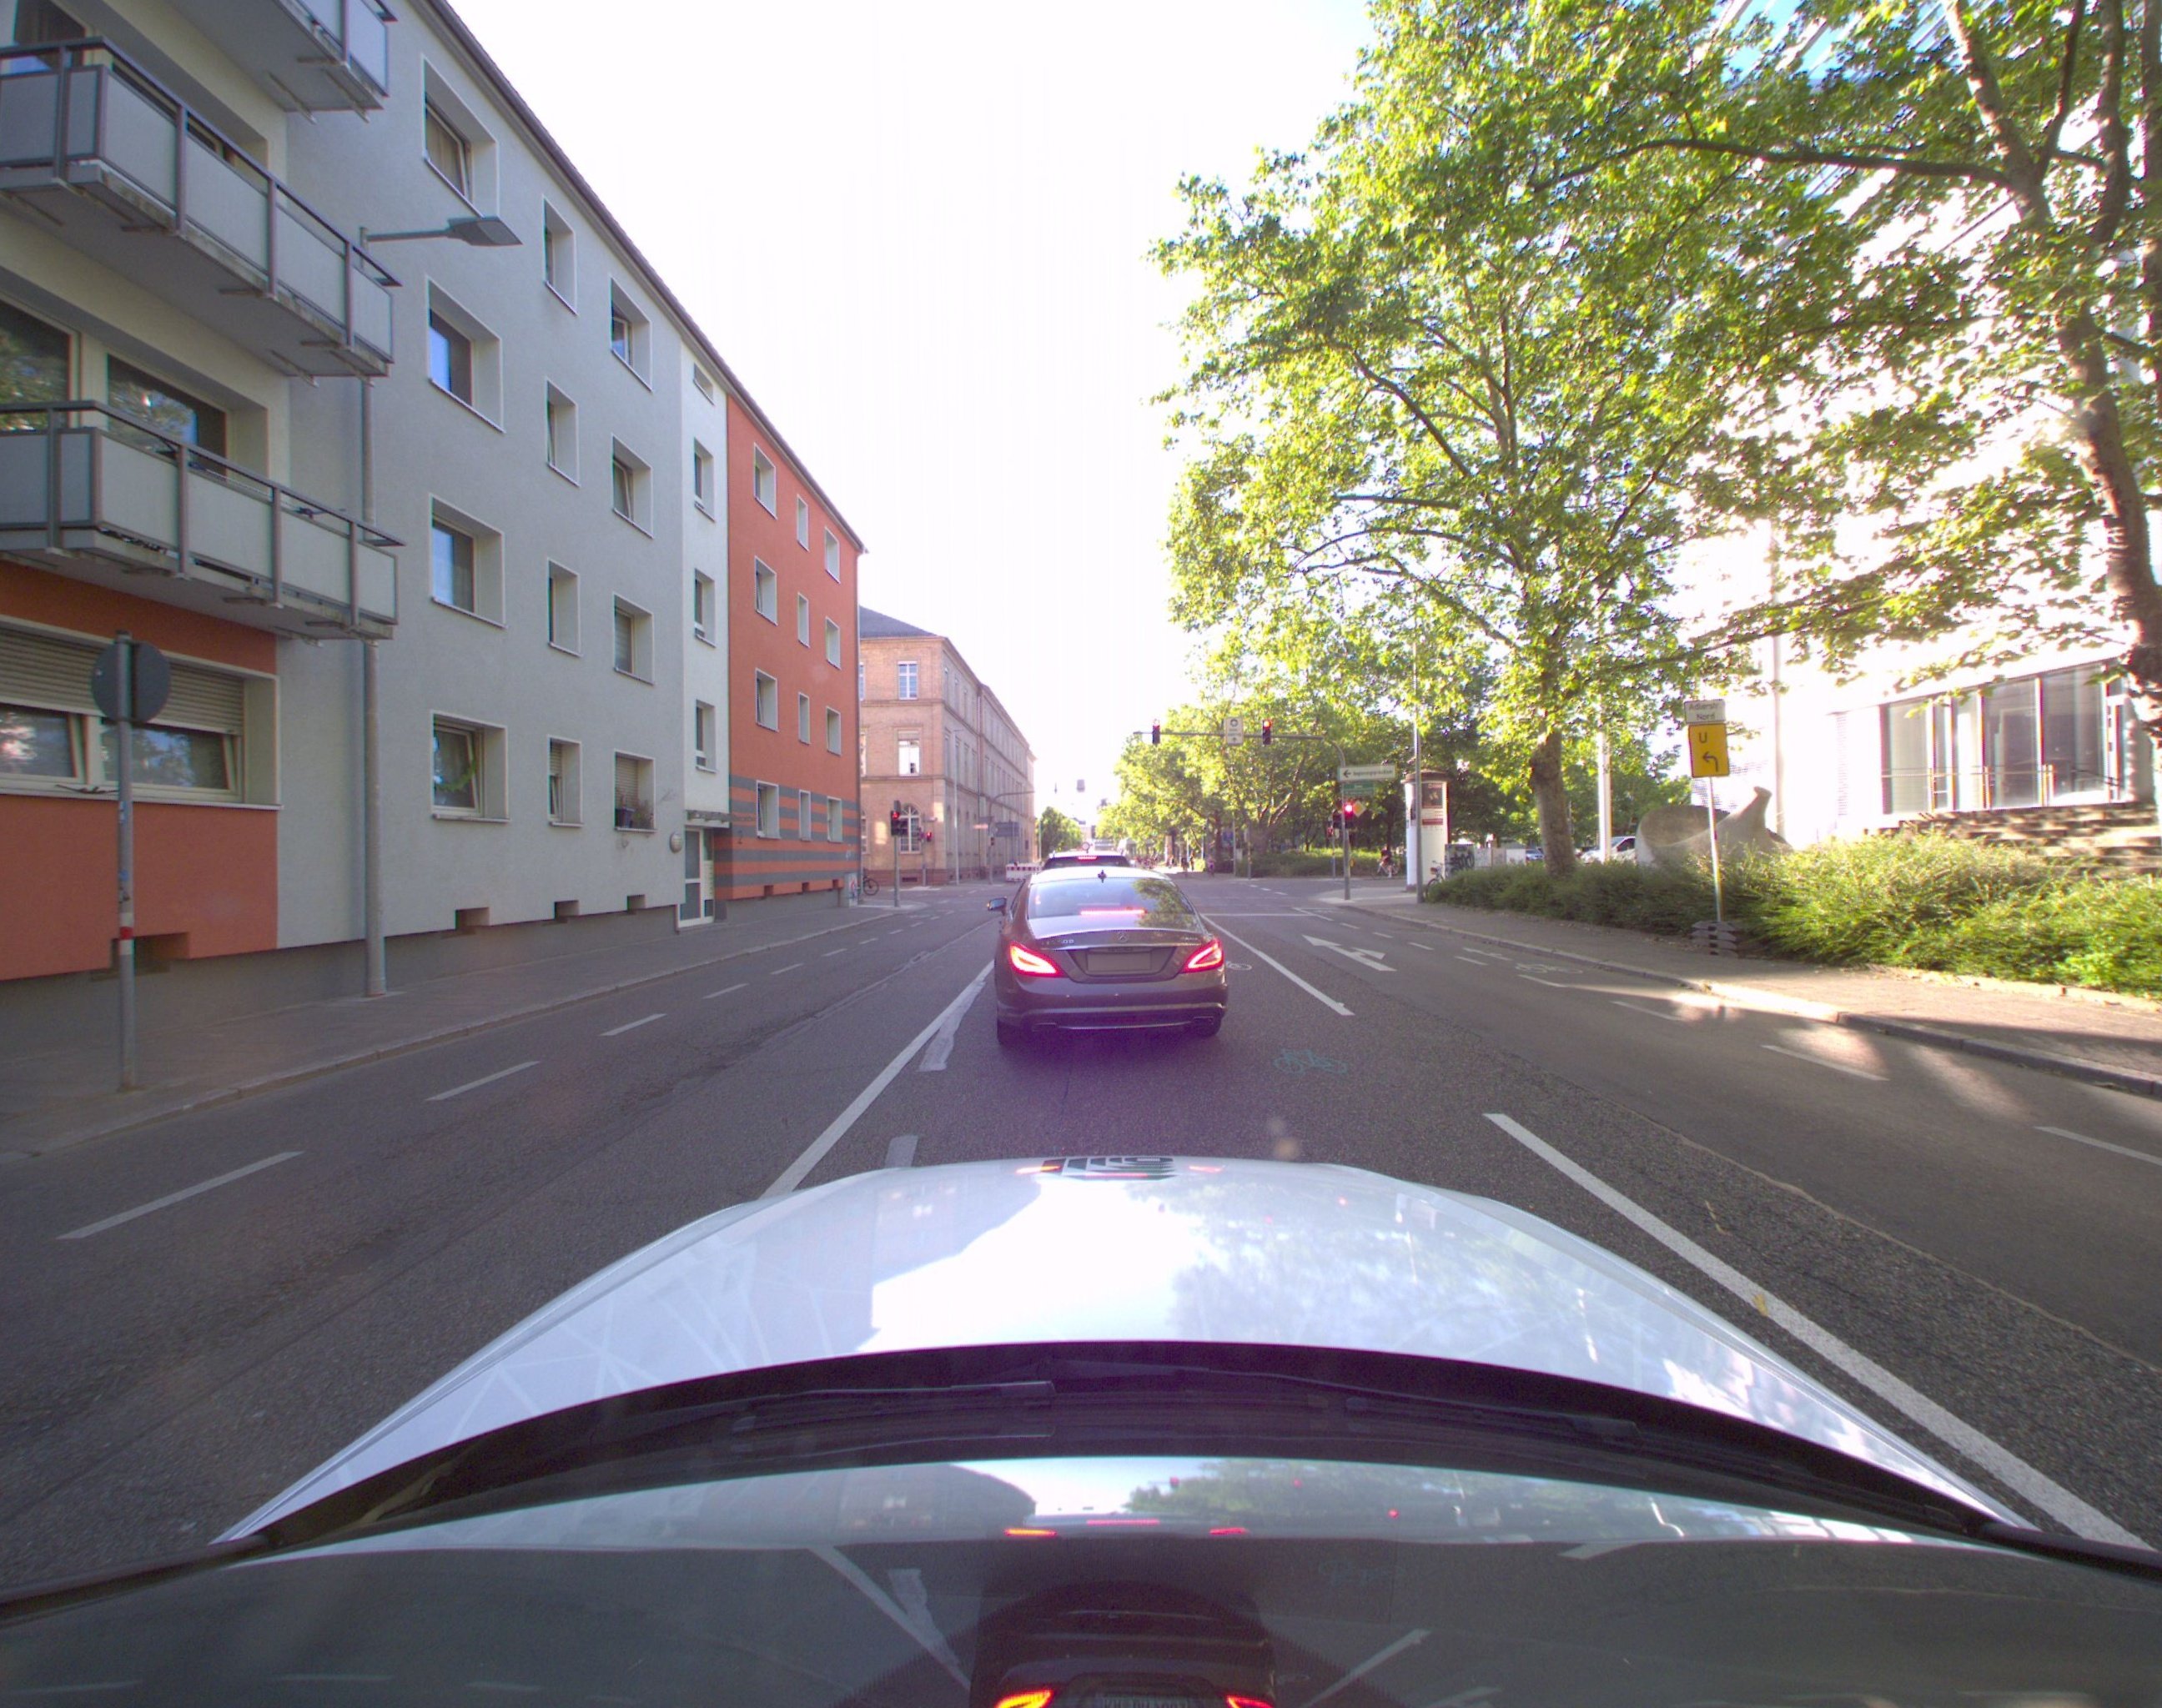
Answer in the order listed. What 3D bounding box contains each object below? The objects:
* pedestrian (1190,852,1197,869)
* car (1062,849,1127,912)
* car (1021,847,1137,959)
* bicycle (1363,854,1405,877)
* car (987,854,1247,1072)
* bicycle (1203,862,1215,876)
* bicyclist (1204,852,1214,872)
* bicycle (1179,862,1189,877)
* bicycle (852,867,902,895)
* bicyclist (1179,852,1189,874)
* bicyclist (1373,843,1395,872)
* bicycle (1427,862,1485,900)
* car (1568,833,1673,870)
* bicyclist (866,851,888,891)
[{"bbox_3d":[11.085,0.647,80.331,0.557,1.678,0.565,-1,0,1],"label":"pedestrian"},{"bbox_3d":[0.371,0.712,23.456,1.676,1.625,3.841,-1,0,0],"label":"car"},{"bbox_3d":[-0.010,0.727,13.870,1.676,1.625,3.841,-1,0,0],"label":"car"},{"bbox_3d":[16.534,0.634,44.468,1.996,1.185,0.883,-1,0,-8],"label":"bicycle"},{"bbox_3d":[0.081,0.767,7.893,1.818,1.476,4.345,-1,0,-5],"label":"car"},{"bbox_3d":[9.147,1.073,58.234,0.598,0.985,1.882,1,0,2],"label":"bicycle"},{"bbox_3d":[9.147,0.546,58.207,0.598,1.402,0.931,1,0,1],"label":"bicyclist"},{"bbox_3d":[7.398,1.107,58.523,0.608,1.026,1.732,0,0,2],"label":"bicycle"},{"bbox_3d":[-8.941,1.171,35.726,1.989,1.185,0.589,-1,0,3],"label":"bicycle"},{"bbox_3d":[7.403,0.637,58.521,0.608,1.516,0.890,0,0,1],"label":"bicyclist"},{"bbox_3d":[16.541,0.198,44.464,0.813,1.553,0.883,-1,0,-8],"label":"bicyclist"},{"bbox_3d":[10.796,0.772,23.475,1.411,1.037,0.538,-1,0,-2],"label":"bicycle"},{"bbox_3d":[27.572,-0.125,41.737,3.976,1.784,2.004,-1,0,6],"label":"car"},{"bbox_3d":[-8.950,0.745,35.737,0.793,1.708,0.589,-1,0,3],"label":"bicyclist"}]
